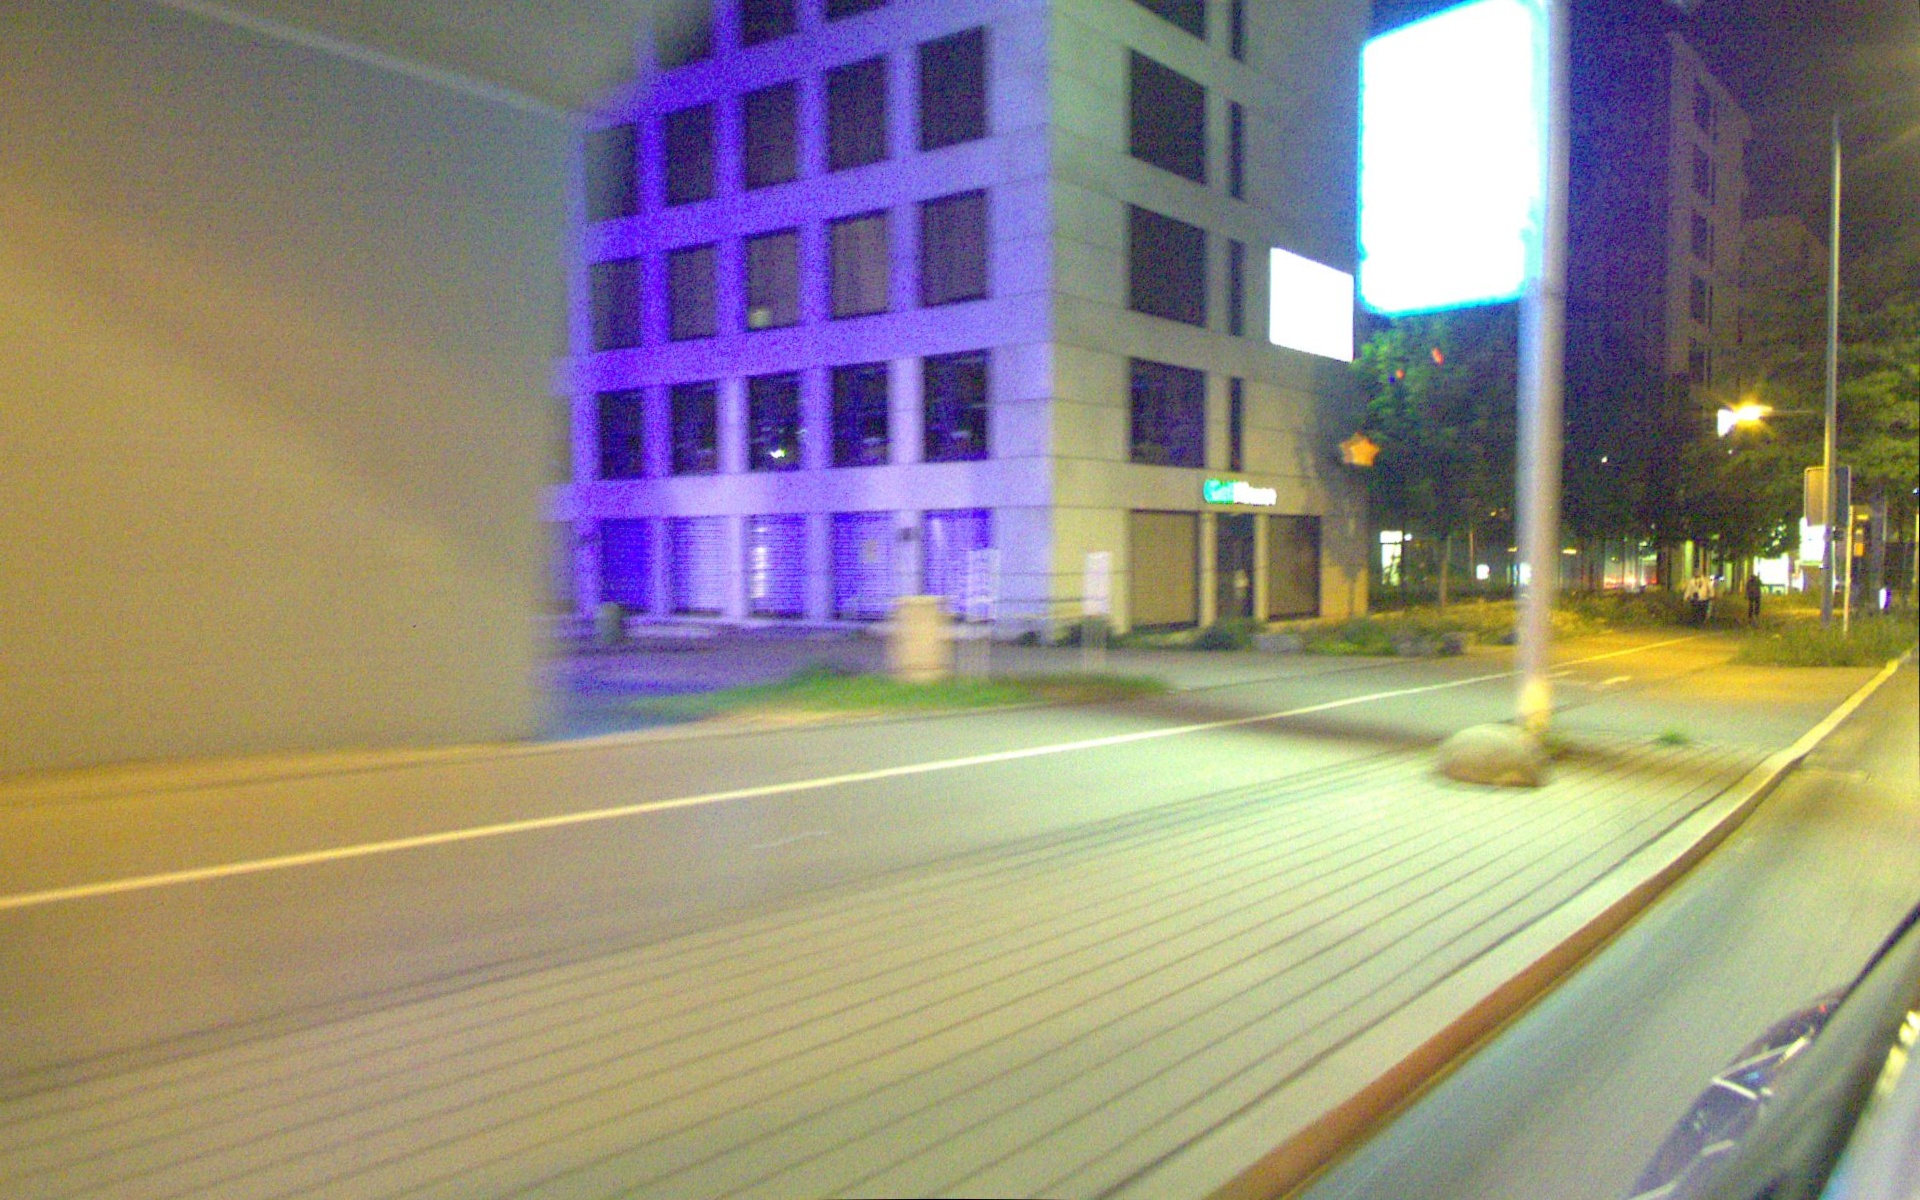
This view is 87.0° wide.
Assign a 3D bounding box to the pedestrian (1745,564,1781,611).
[{"bbox_3d":[30.788,-0.481,38.790,0.941,1.727,0.854,-2,5,-43],"label":"pedestrian"}]

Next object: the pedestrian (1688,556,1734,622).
[{"bbox_3d":[22.671,-0.335,30.550,0.778,1.936,0.808,-1,4,-34],"label":"pedestrian"}]
